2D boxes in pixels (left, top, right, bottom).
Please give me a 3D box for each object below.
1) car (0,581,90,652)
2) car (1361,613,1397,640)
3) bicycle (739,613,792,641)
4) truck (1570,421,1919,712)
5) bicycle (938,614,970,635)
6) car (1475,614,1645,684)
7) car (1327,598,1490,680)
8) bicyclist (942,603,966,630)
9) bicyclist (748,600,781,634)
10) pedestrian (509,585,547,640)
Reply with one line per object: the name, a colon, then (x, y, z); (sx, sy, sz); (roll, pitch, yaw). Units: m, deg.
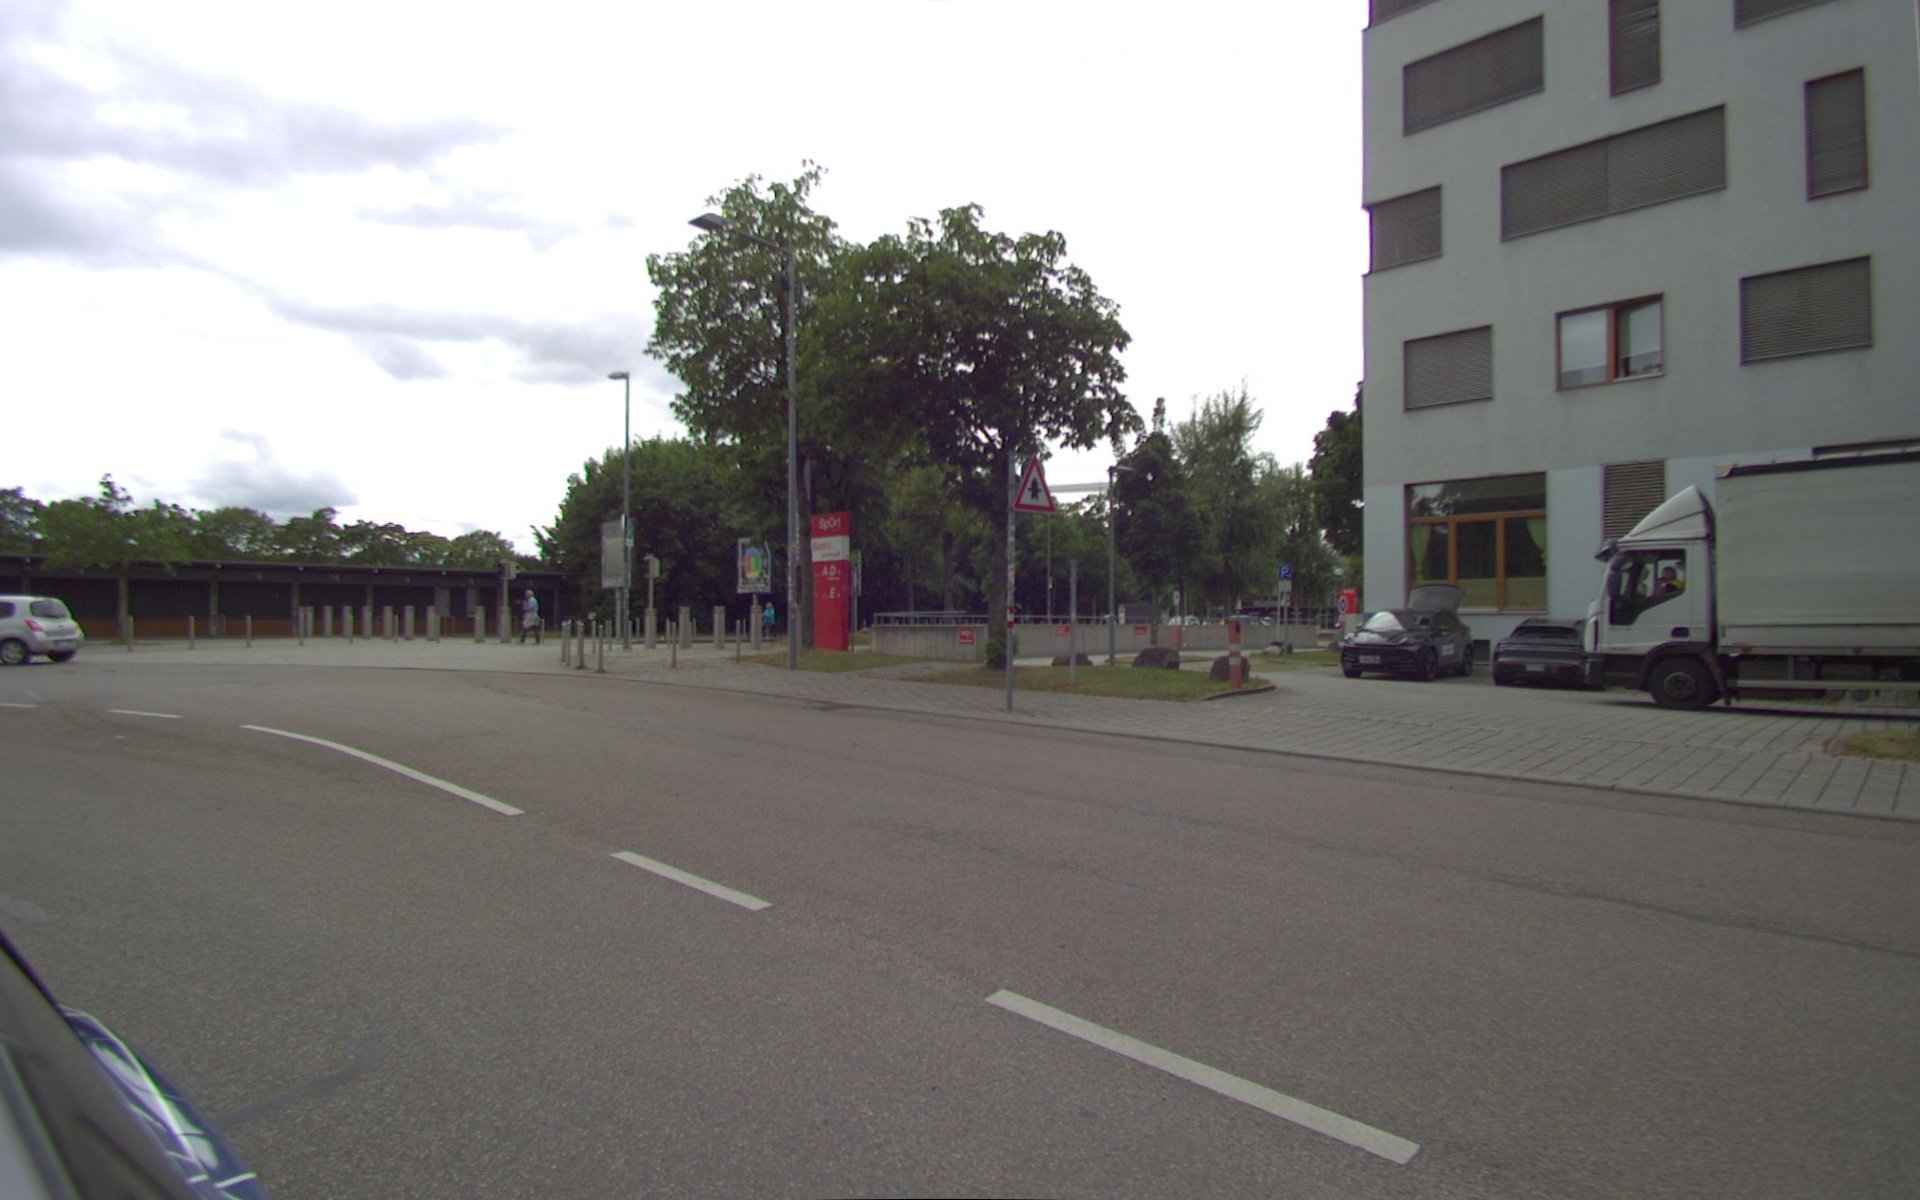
car: (-20.877, 0.339, 21.381); (3.445, 1.467, 1.611); (0, 0, -11)
car: (39.237, 2.445, 94.733); (1.809, 2.494, 3.942); (0, 0, 44)
bicycle: (-8.219, 1.135, 42.876); (0.748, 1.132, 2.227); (0, 0, 42)
truck: (13.105, -0.416, 13.328); (8.365, 3.628, 2.648); (0, 0, 43)
bicycle: (-0.330, 1.393, 57.789); (0.776, 1.152, 2.027); (1, 1, 35)
car: (12.918, 0.951, 21.608); (2.183, 1.254, 5.082); (0, 0, 42)
car: (10.557, 0.810, 23.593); (2.097, 1.705, 5.264); (0, 0, 40)
bicyclist: (-0.330, 0.944, 57.785); (0.926, 1.507, 1.088); (1, 1, 35)
bicyclist: (-8.269, 0.703, 42.820); (0.743, 1.441, 1.143); (0, 0, 42)
pedestrian: (-14.803, 0.406, 34.697); (1.181, 1.847, 0.931); (0, 1, -22)
